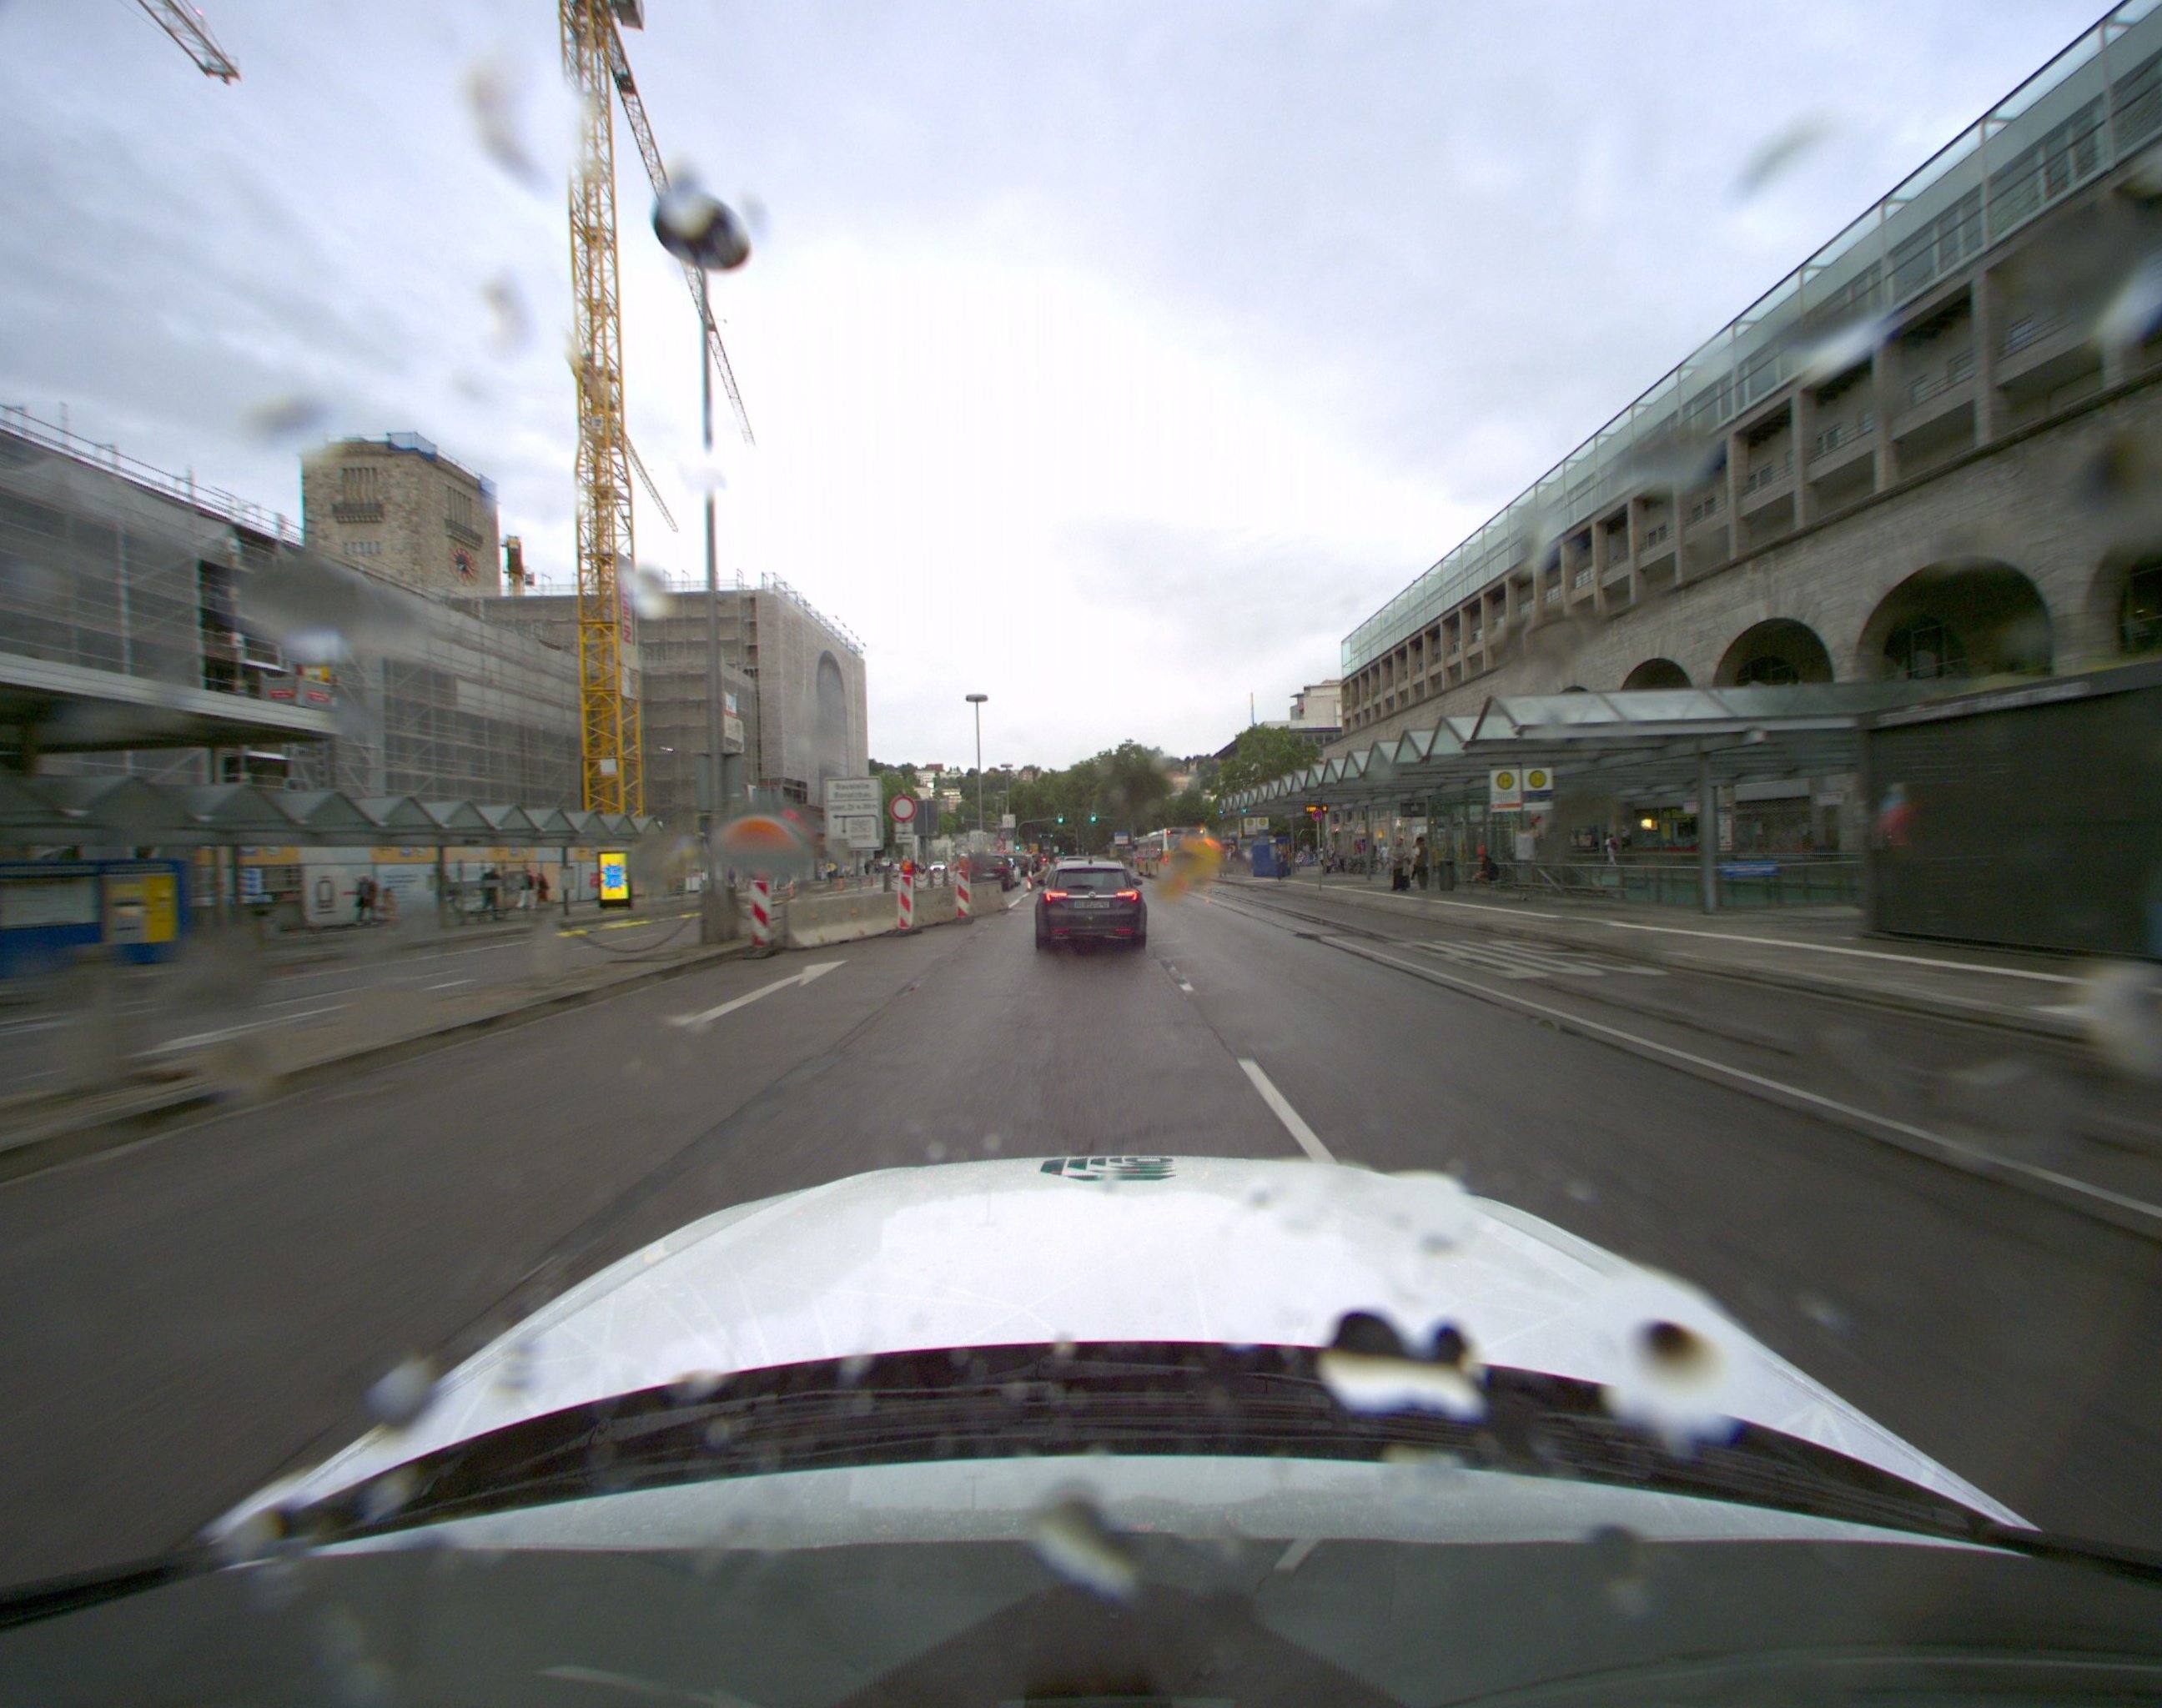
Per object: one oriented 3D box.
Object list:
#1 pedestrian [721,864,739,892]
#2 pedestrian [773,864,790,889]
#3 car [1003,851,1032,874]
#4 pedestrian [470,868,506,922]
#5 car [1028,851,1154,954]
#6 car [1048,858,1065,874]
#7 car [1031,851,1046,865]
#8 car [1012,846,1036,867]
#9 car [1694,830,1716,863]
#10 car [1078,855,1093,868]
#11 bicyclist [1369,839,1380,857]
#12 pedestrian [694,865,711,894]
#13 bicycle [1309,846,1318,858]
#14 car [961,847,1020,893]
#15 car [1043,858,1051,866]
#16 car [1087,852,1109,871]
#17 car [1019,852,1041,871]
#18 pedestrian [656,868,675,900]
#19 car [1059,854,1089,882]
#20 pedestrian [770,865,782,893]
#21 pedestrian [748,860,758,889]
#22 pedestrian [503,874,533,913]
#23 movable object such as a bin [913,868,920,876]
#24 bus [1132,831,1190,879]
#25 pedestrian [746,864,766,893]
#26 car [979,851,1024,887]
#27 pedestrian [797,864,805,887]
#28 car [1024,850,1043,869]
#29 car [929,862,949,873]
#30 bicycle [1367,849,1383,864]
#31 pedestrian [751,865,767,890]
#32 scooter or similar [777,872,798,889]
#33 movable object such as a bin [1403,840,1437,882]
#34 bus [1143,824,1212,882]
[{"bbox_3d":[-24.047,1.646,55.781,0.799,1.841,0.869,-1,0,3],"label":"pedestrian"},{"bbox_3d":[-22.877,1.701,62.204,0.835,1.841,1.059,-1,0,3],"label":"pedestrian"},{"bbox_3d":[-4.812,0.625,62.426,1.988,1.654,4.637,-2,0,-2],"label":"car"},{"bbox_3d":[-20.917,1.440,28.738,0.738,1.841,0.705,-1,0,19],"label":"pedestrian"},{"bbox_3d":[0.197,0.740,14.680,1.871,1.508,4.852,-1,0,1],"label":"car"},{"bbox_3d":[-3.130,1.499,105.092,1.980,2.014,4.363,-1,-1,-4],"label":"car"},{"bbox_3d":[-5.899,0.579,113.119,1.990,1.845,5.053,-1,-1,-5],"label":"car"},{"bbox_3d":[-5.134,0.254,73.933,1.989,1.787,4.449,-2,0,-3],"label":"car"},{"bbox_3d":[29.472,-0.362,38.450,0.587,1.539,0.568,-1,-1,2],"label":"car"},{"bbox_3d":[0.560,0.965,100.086,1.670,1.581,3.237,-1,-1,-2],"label":"car"},{"bbox_3d":[25.518,-0.521,70.810,0.647,1.554,0.908,-2,-1,1],"label":"bicyclist"},{"bbox_3d":[-23.763,1.593,51.133,0.718,1.841,0.612,-1,0,3],"label":"pedestrian"},{"bbox_3d":[30.424,-0.304,106.521,0.789,1.562,2.135,-2,0,7],"label":"bicycle"},{"bbox_3d":[-4.022,0.692,37.024,1.987,1.862,4.833,-2,0,1],"label":"car"},{"bbox_3d":[-7.056,1.764,170.208,1.702,1.665,3.703,-1,-1,-2],"label":"car"},{"bbox_3d":[1.568,0.684,76.688,1.847,1.717,3.995,-1,-1,-3],"label":"car"},{"bbox_3d":[-4.960,0.746,79.934,1.988,1.787,4.844,-2,0,-2],"label":"car"},{"bbox_3d":[-23.913,1.716,46.896,0.739,1.841,0.657,-1,0,3],"label":"pedestrian"},{"bbox_3d":[-0.406,0.869,52.612,1.824,1.686,4.134,-2,0,0],"label":"car"},{"bbox_3d":[-20.050,1.620,53.525,0.507,1.841,0.703,-1,0,-7],"label":"pedestrian"},{"bbox_3d":[-21.032,1.319,52.202,0.336,1.841,0.511,-1,0,15],"label":"pedestrian"},{"bbox_3d":[-24.674,1.732,35.700,0.801,1.670,0.700,-1,0,-6],"label":"pedestrian"},{"bbox_3d":[-20.431,2.222,101.020,0.757,0.970,0.720,-2,0,-3],"label":"movable object such as a bin"},{"bbox_3d":[5.731,0.113,59.861,3.104,3.205,9.236,-1,-1,-1],"label":"bus"},{"bbox_3d":[-20.598,1.549,51.637,0.695,1.841,0.883,-2,0,28],"label":"pedestrian"},{"bbox_3d":[-4.063,0.755,42.538,1.988,1.706,4.828,-2,0,-2],"label":"car"},{"bbox_3d":[-22.624,1.701,65.829,0.571,1.841,0.701,-1,0,-15],"label":"pedestrian"},{"bbox_3d":[-4.930,0.566,85.396,1.709,1.892,4.607,-2,0,-1],"label":"car"},{"bbox_3d":[-18.995,1.788,109.187,1.987,1.468,3.998,-1,-1,-1],"label":"car"},{"bbox_3d":[25.562,0.245,70.789,0.657,1.255,2.014,-2,0,1],"label":"bicycle"},{"bbox_3d":[-24.896,1.820,62.925,0.799,1.841,0.851,-1,0,3],"label":"pedestrian"},{"bbox_3d":[-19.271,1.740,53.397,0.454,1.066,1.248,-2,0,34],"label":"scooter or similar"},{"bbox_3d":[13.513,0.276,32.479,0.665,1.652,1.040,-1,0,-23],"label":"movable object such as a bin"},{"bbox_3d":[5.836,-0.022,50.698,3.131,3.248,9.132,-1,-1,0],"label":"bus"}]
